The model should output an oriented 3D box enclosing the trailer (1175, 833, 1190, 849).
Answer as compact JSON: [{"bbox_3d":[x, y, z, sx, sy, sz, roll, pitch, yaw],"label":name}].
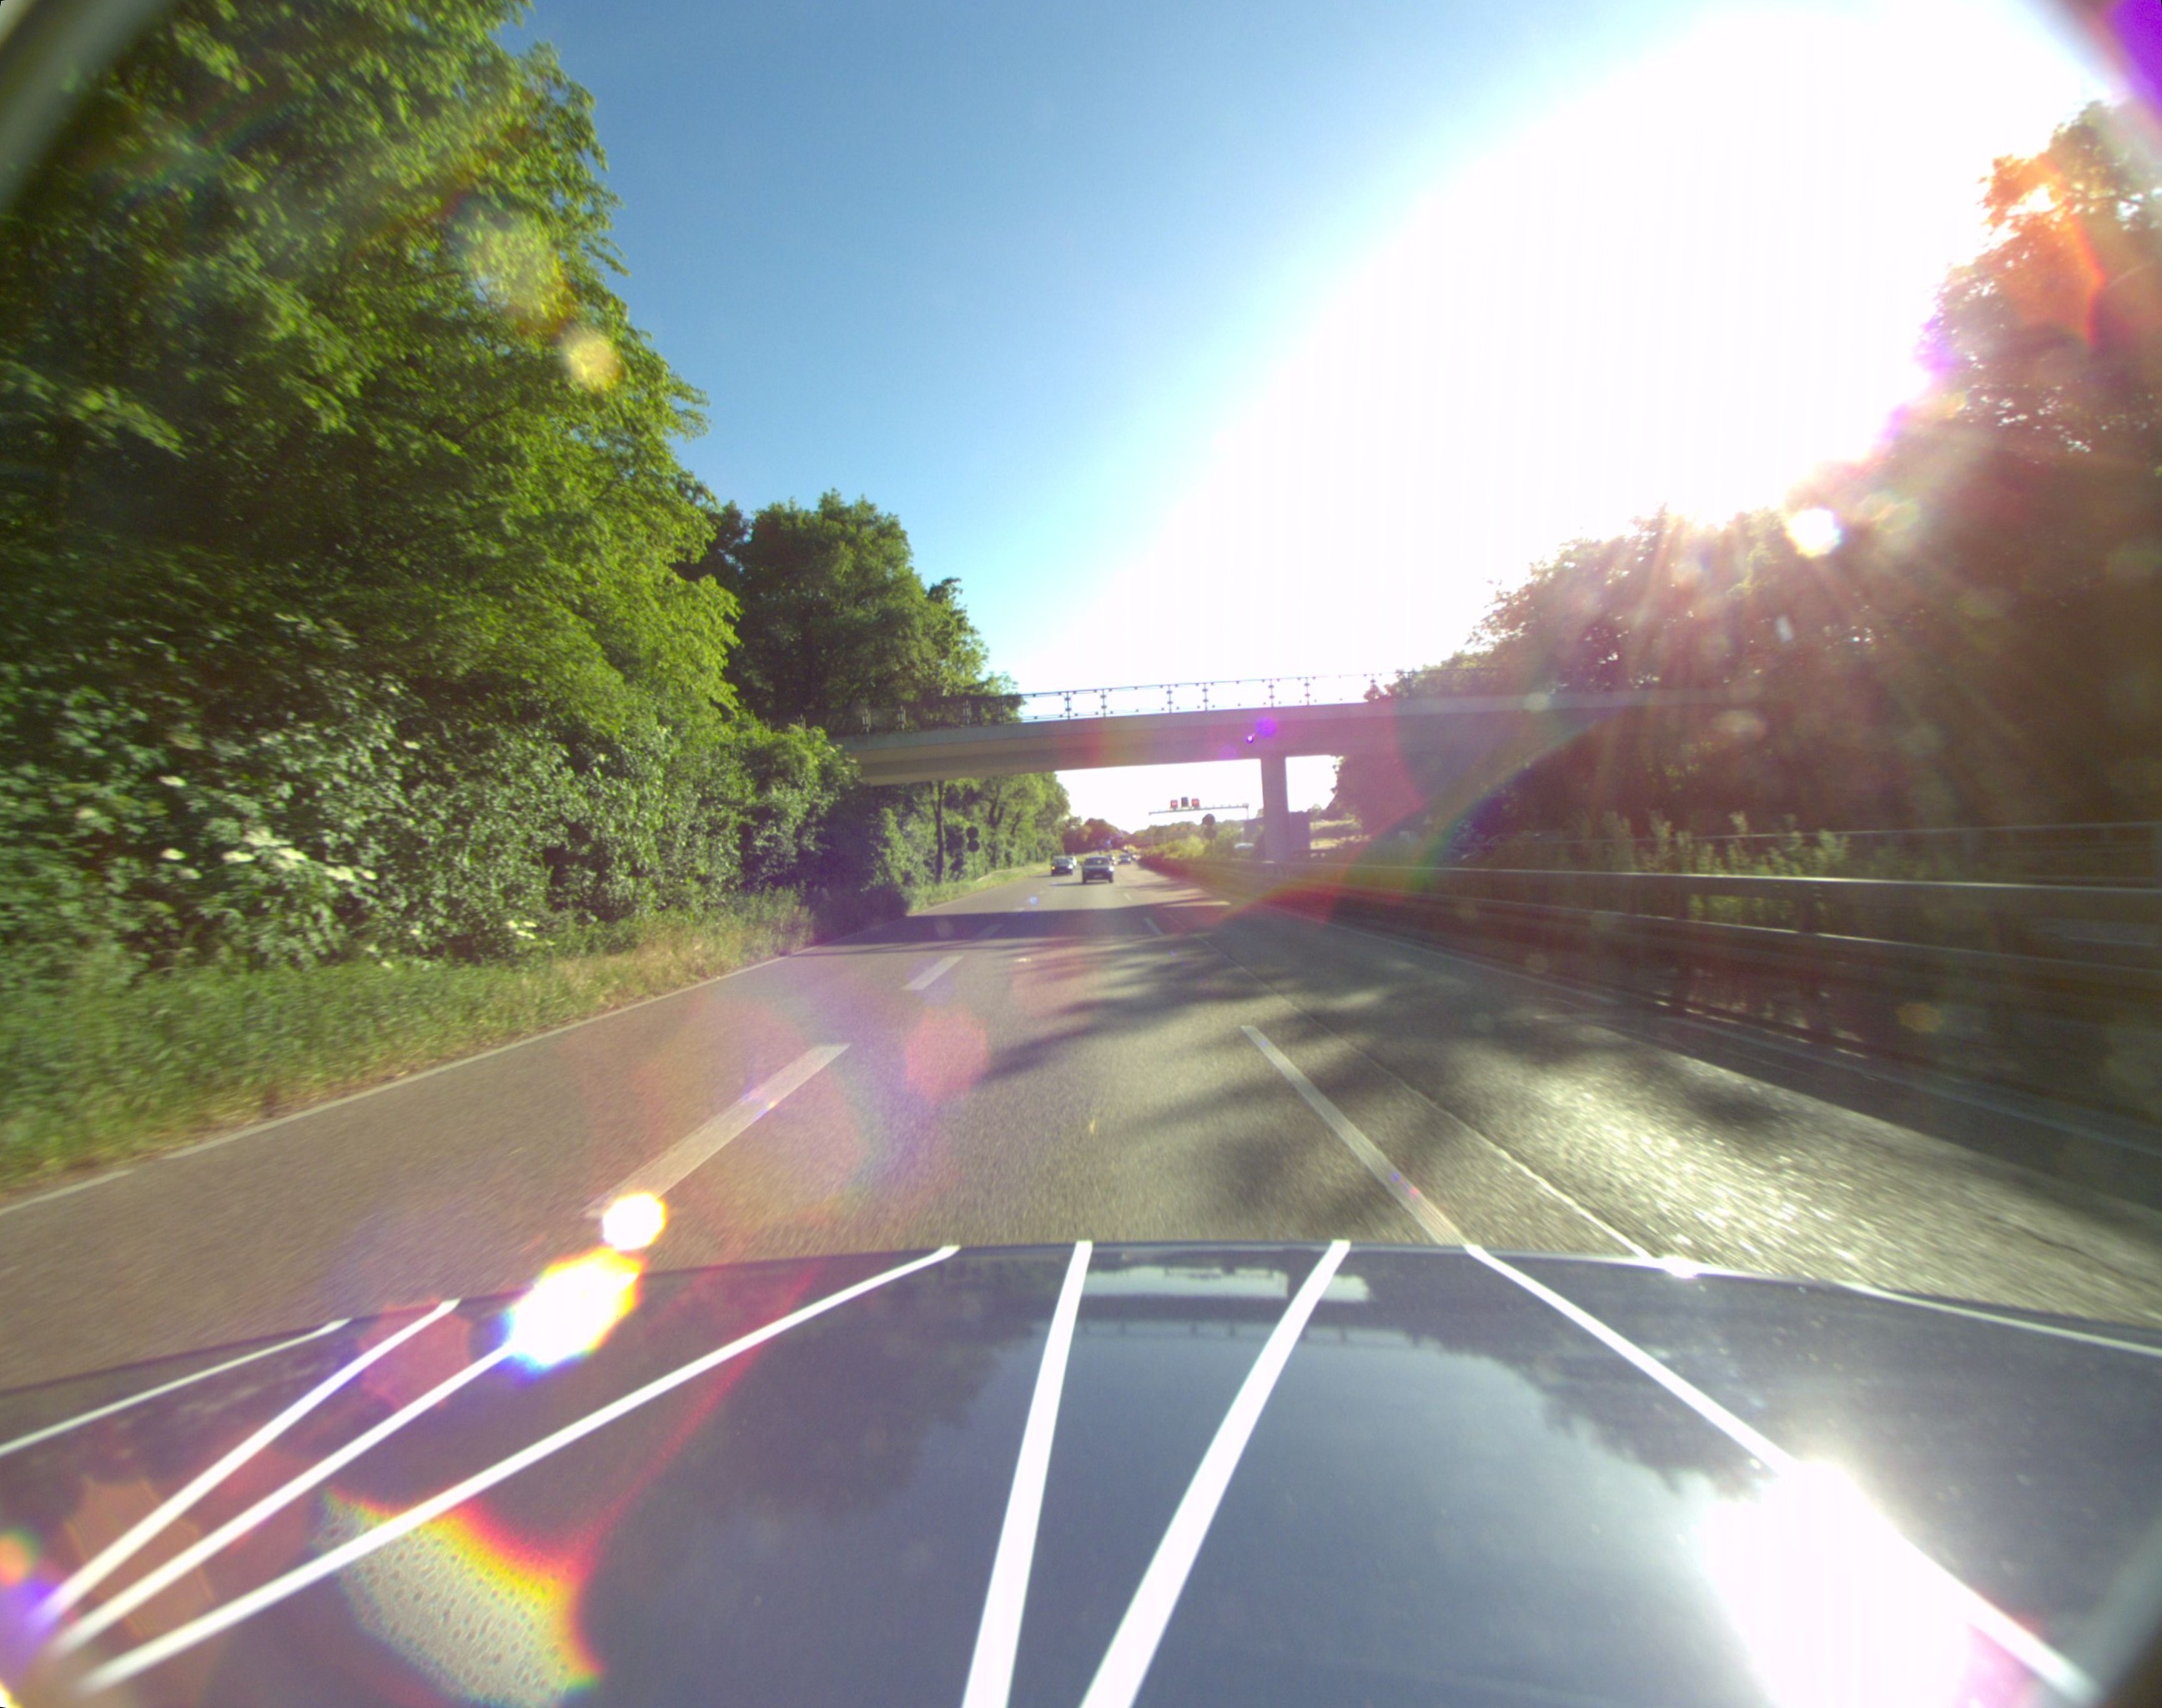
[{"bbox_3d":[26.945,-3.478,202.064,3.029,3.964,14.029,-2,1,4],"label":"trailer"}]

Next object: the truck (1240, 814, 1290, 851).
[{"bbox_3d":[16.900,-1.951,70.326,2.937,3.149,7.083,-2,1,2],"label":"truck"}]

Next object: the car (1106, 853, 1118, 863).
[{"bbox_3d":[5.836,0.826,144.556,1.998,1.740,4.374,-2,1,5],"label":"car"}]

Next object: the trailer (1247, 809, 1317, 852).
[{"bbox_3d":[16.637,-1.870,63.790,2.937,3.149,11.916,-2,1,2],"label":"trailer"}]

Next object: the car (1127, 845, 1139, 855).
[{"bbox_3d":[10.111,-0.747,147.584,1.998,1.740,4.374,-2,1,6],"label":"car"}]

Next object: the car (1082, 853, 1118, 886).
[{"bbox_3d":[1.074,0.817,41.363,1.712,1.565,3.423,-5,0,4],"label":"car"}]

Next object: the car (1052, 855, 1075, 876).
[{"bbox_3d":[-1.452,0.952,63.739,1.712,1.565,3.422,-2,1,1],"label":"car"}]

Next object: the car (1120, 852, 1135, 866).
[{"bbox_3d":[6.805,0.711,110.753,1.998,1.793,4.000,-2,1,2],"label":"car"}]

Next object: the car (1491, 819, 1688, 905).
[{"bbox_3d":[11.824,0.160,18.062,1.902,1.706,4.110,-3,0,1],"label":"car"}]
